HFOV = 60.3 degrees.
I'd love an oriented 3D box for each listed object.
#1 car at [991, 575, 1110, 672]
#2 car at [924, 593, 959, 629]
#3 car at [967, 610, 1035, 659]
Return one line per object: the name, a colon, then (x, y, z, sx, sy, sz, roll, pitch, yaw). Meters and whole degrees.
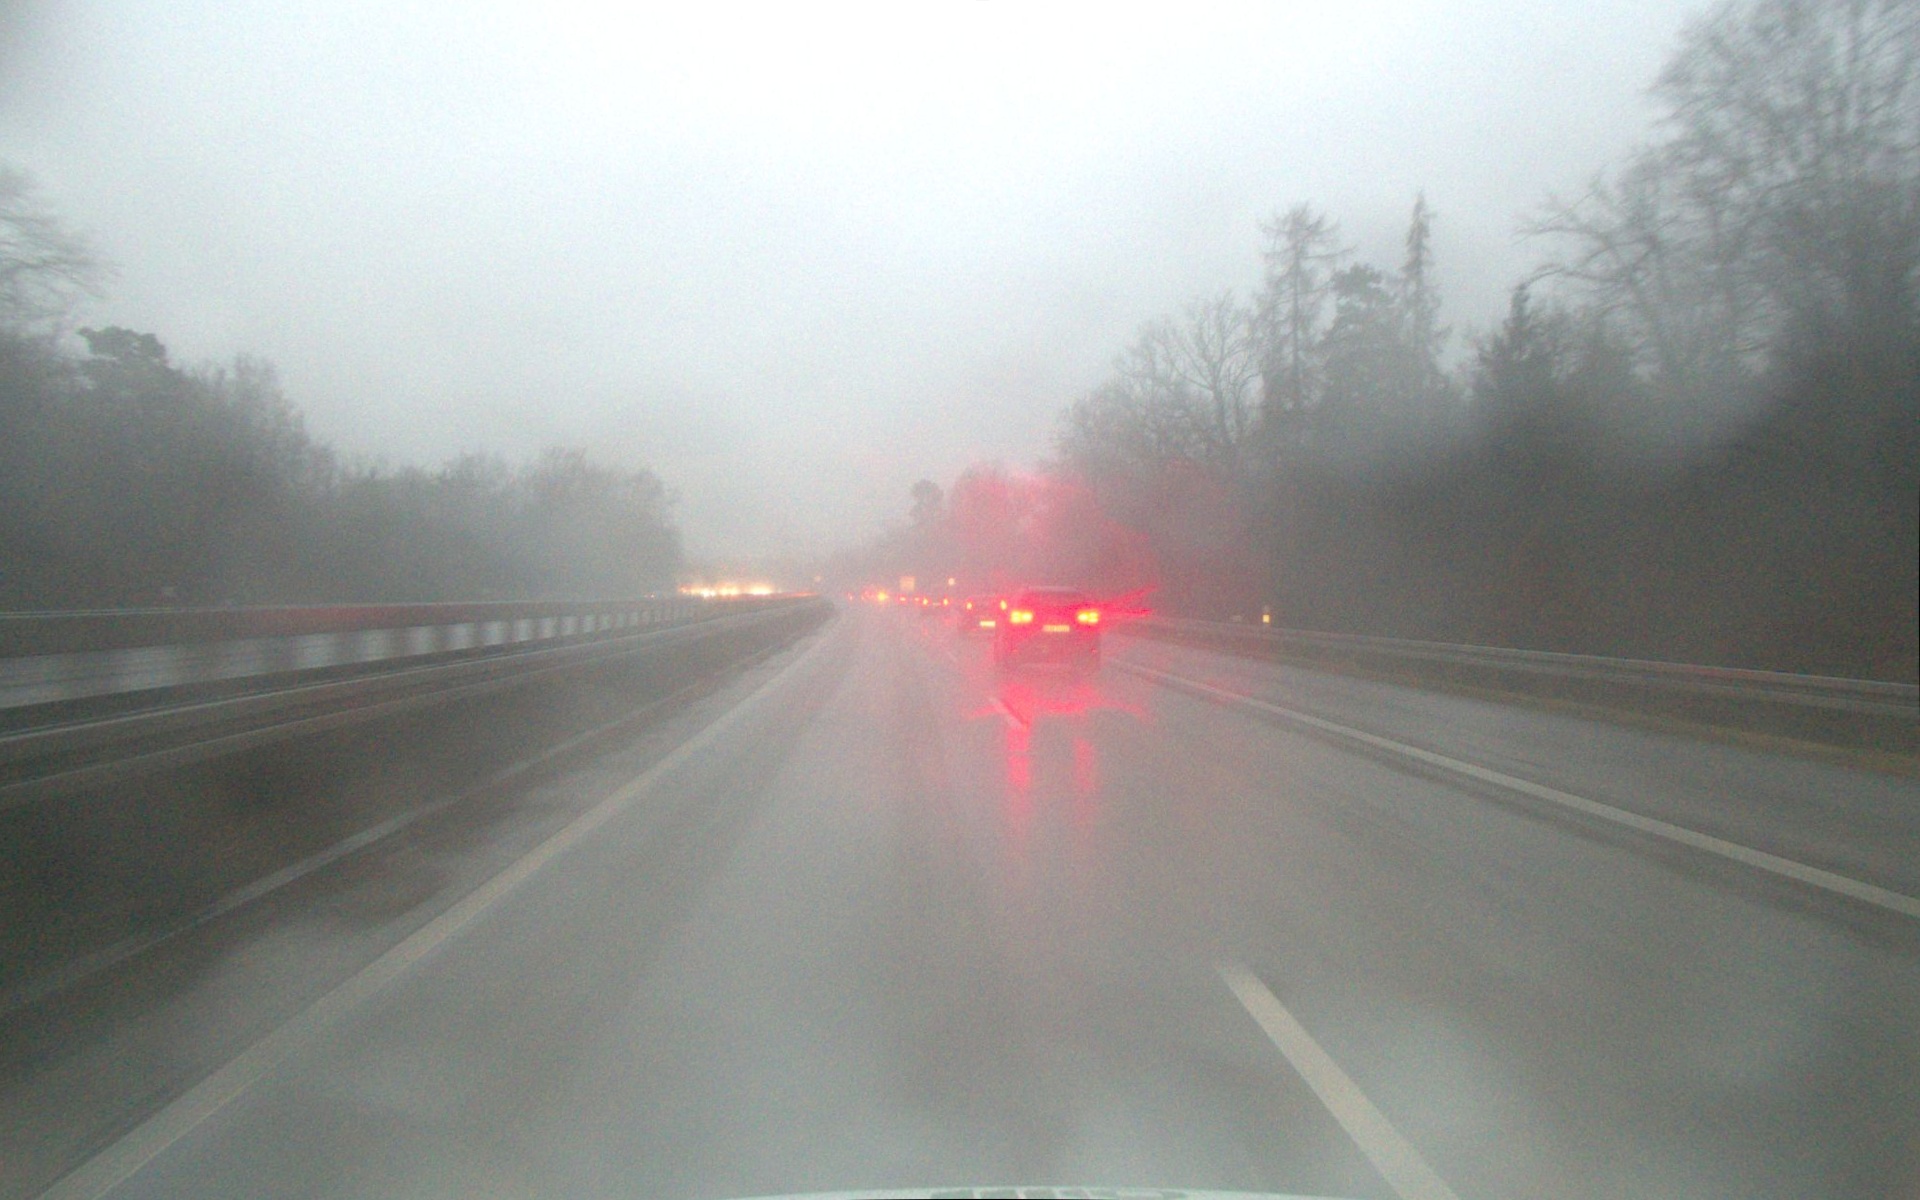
car: (1.690, 0.436, 32.004, 1.952, 1.745, 3.828, 1, 0, -2)
car: (-1.134, 0.659, 97.521, 1.953, 2.049, 3.998, 1, 0, -2)
car: (1.291, 1.101, 54.000, 1.953, 1.445, 3.999, 3, -1, -2)
